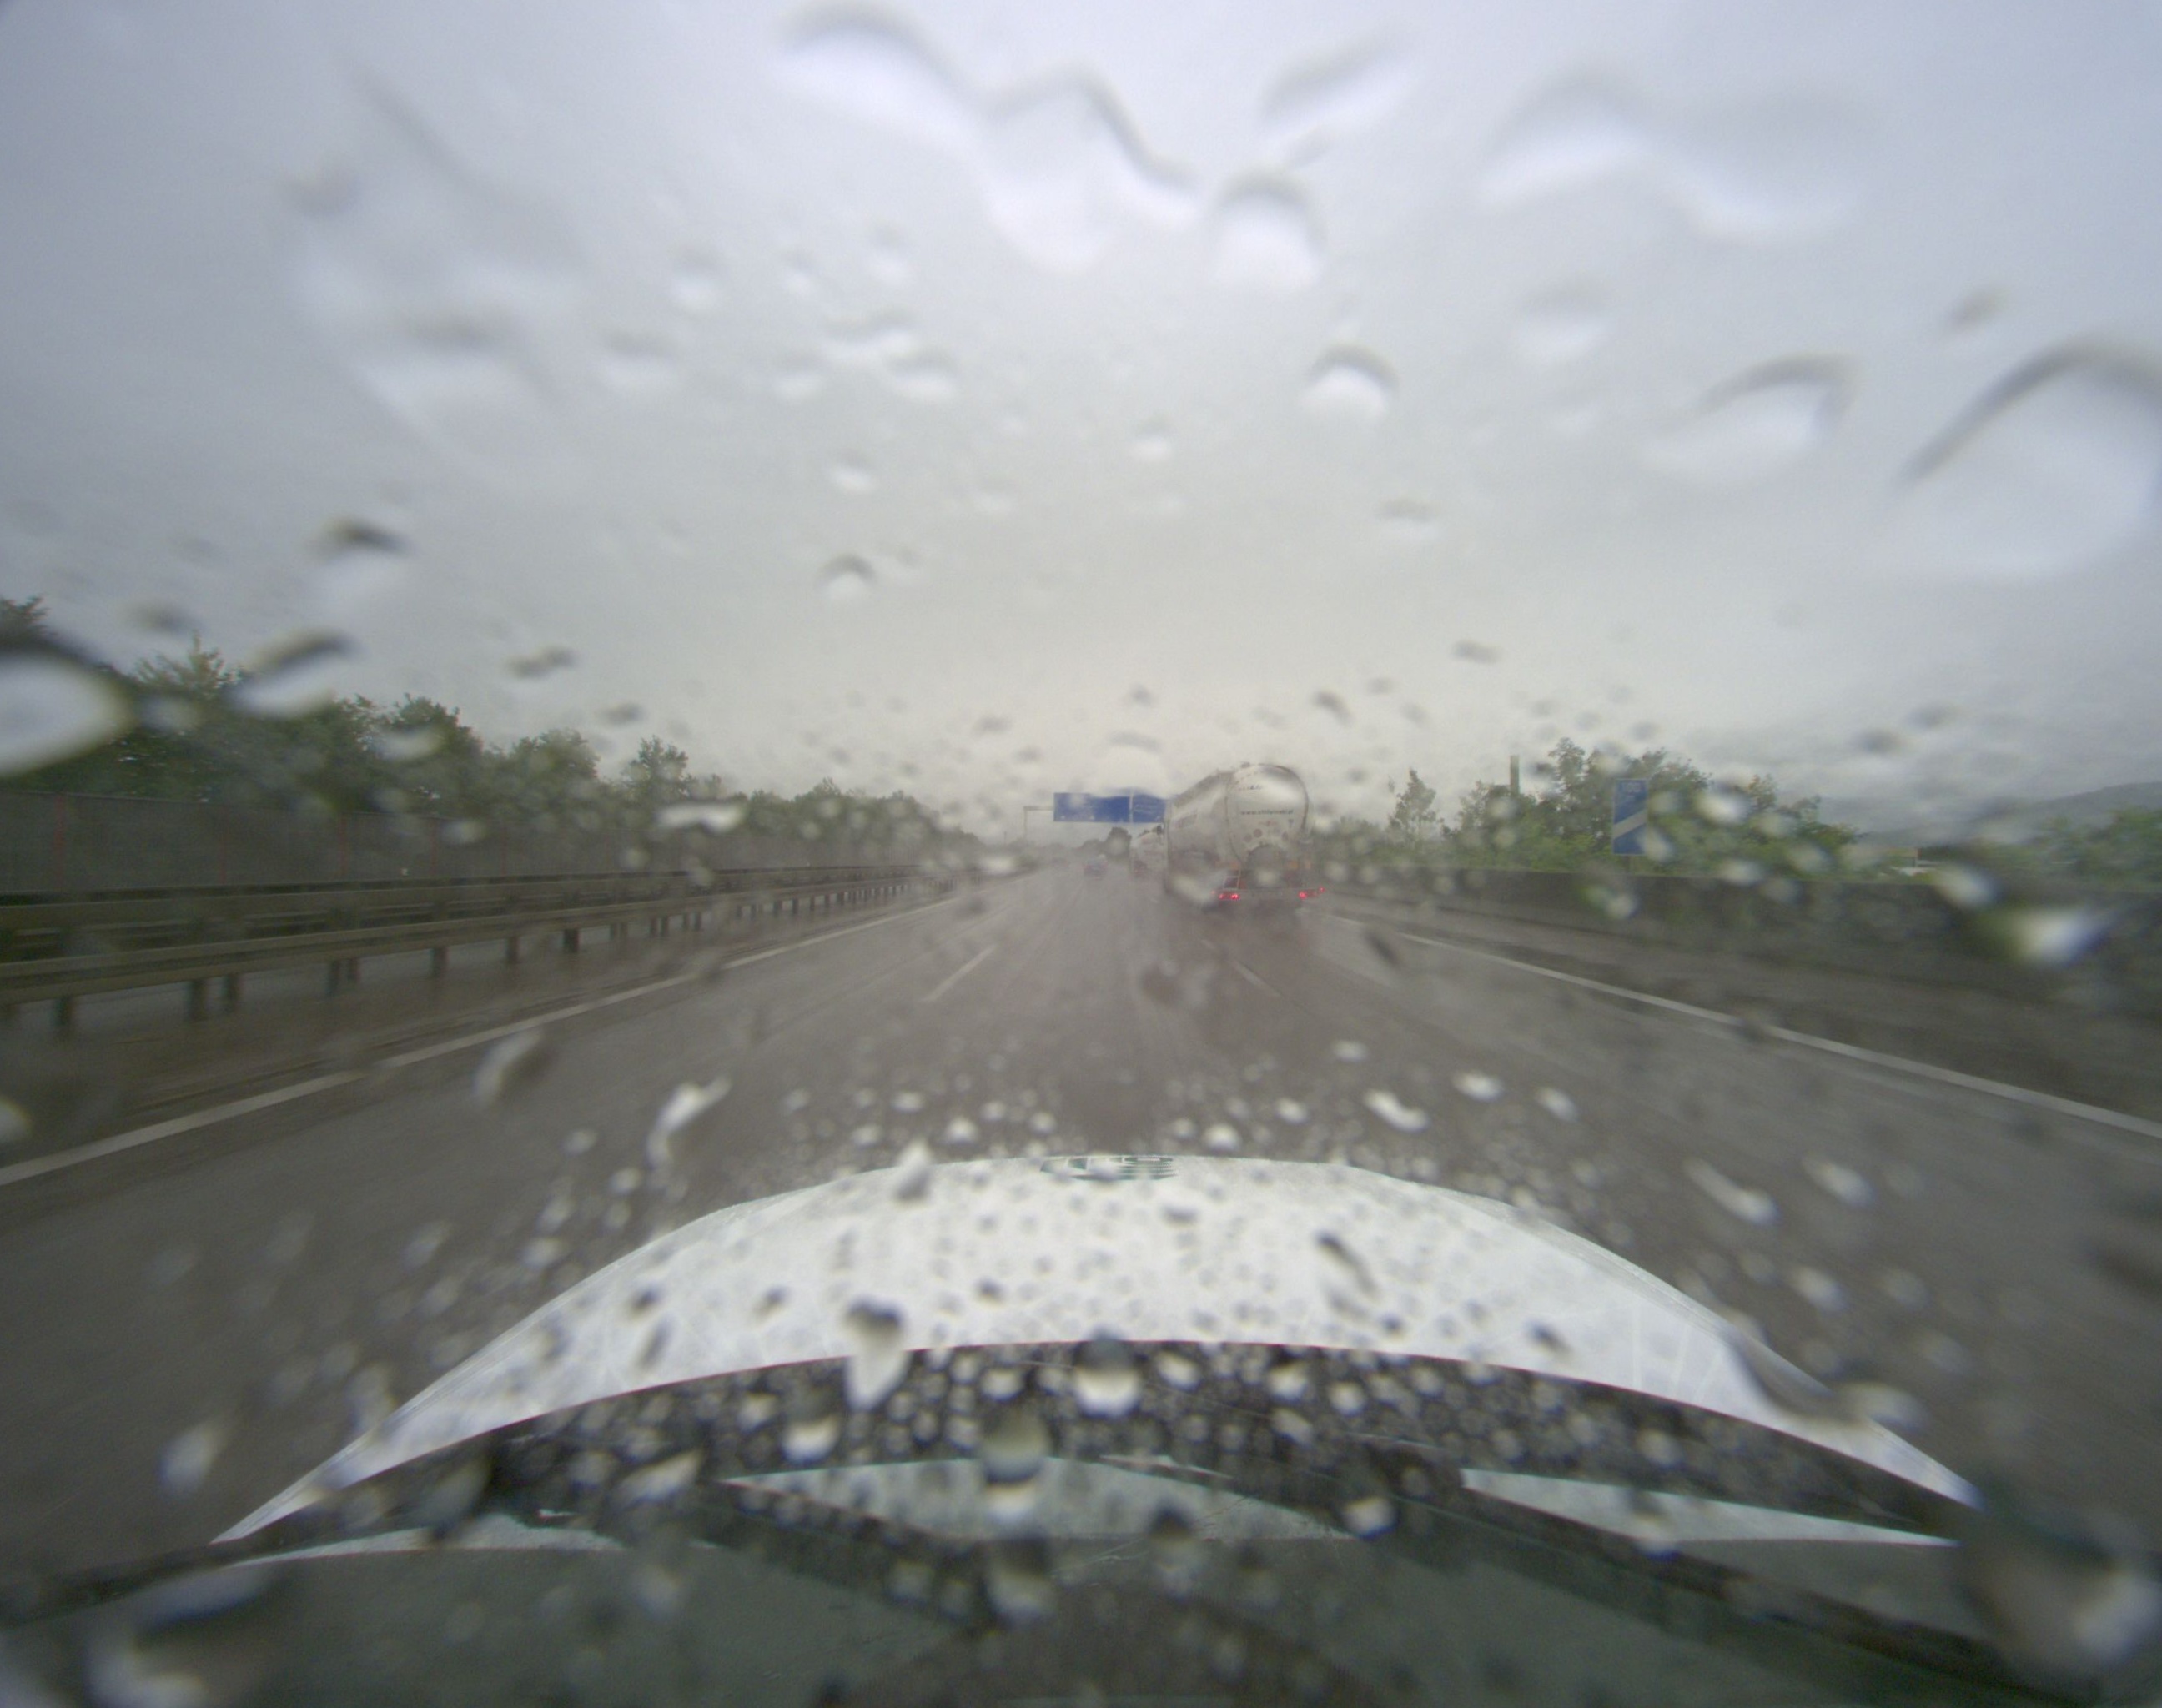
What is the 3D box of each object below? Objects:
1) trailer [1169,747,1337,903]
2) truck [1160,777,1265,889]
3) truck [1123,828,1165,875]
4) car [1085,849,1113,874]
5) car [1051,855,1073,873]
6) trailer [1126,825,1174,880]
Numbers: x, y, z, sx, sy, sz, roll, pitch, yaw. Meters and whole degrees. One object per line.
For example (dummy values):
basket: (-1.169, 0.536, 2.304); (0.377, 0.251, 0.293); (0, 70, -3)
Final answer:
trailer: (4.688, -0.687, 25.069); (3.176, 3.670, 11.674); (0, 0, 2)
truck: (4.845, -0.726, 31.508); (3.093, 3.806, 7.215); (0, 0, 2)
truck: (5.100, -0.167, 67.186); (2.934, 3.684, 6.360); (-1, 0, 0)
car: (1.356, 0.520, 60.945); (1.971, 1.756, 4.483); (-1, 0, 2)
car: (-1.867, 0.988, 81.967); (1.918, 1.741, 4.406); (-1, 0, 2)
trailer: (5.105, -0.115, 62.048); (2.994, 3.848, 8.623); (-1, 0, 0)
